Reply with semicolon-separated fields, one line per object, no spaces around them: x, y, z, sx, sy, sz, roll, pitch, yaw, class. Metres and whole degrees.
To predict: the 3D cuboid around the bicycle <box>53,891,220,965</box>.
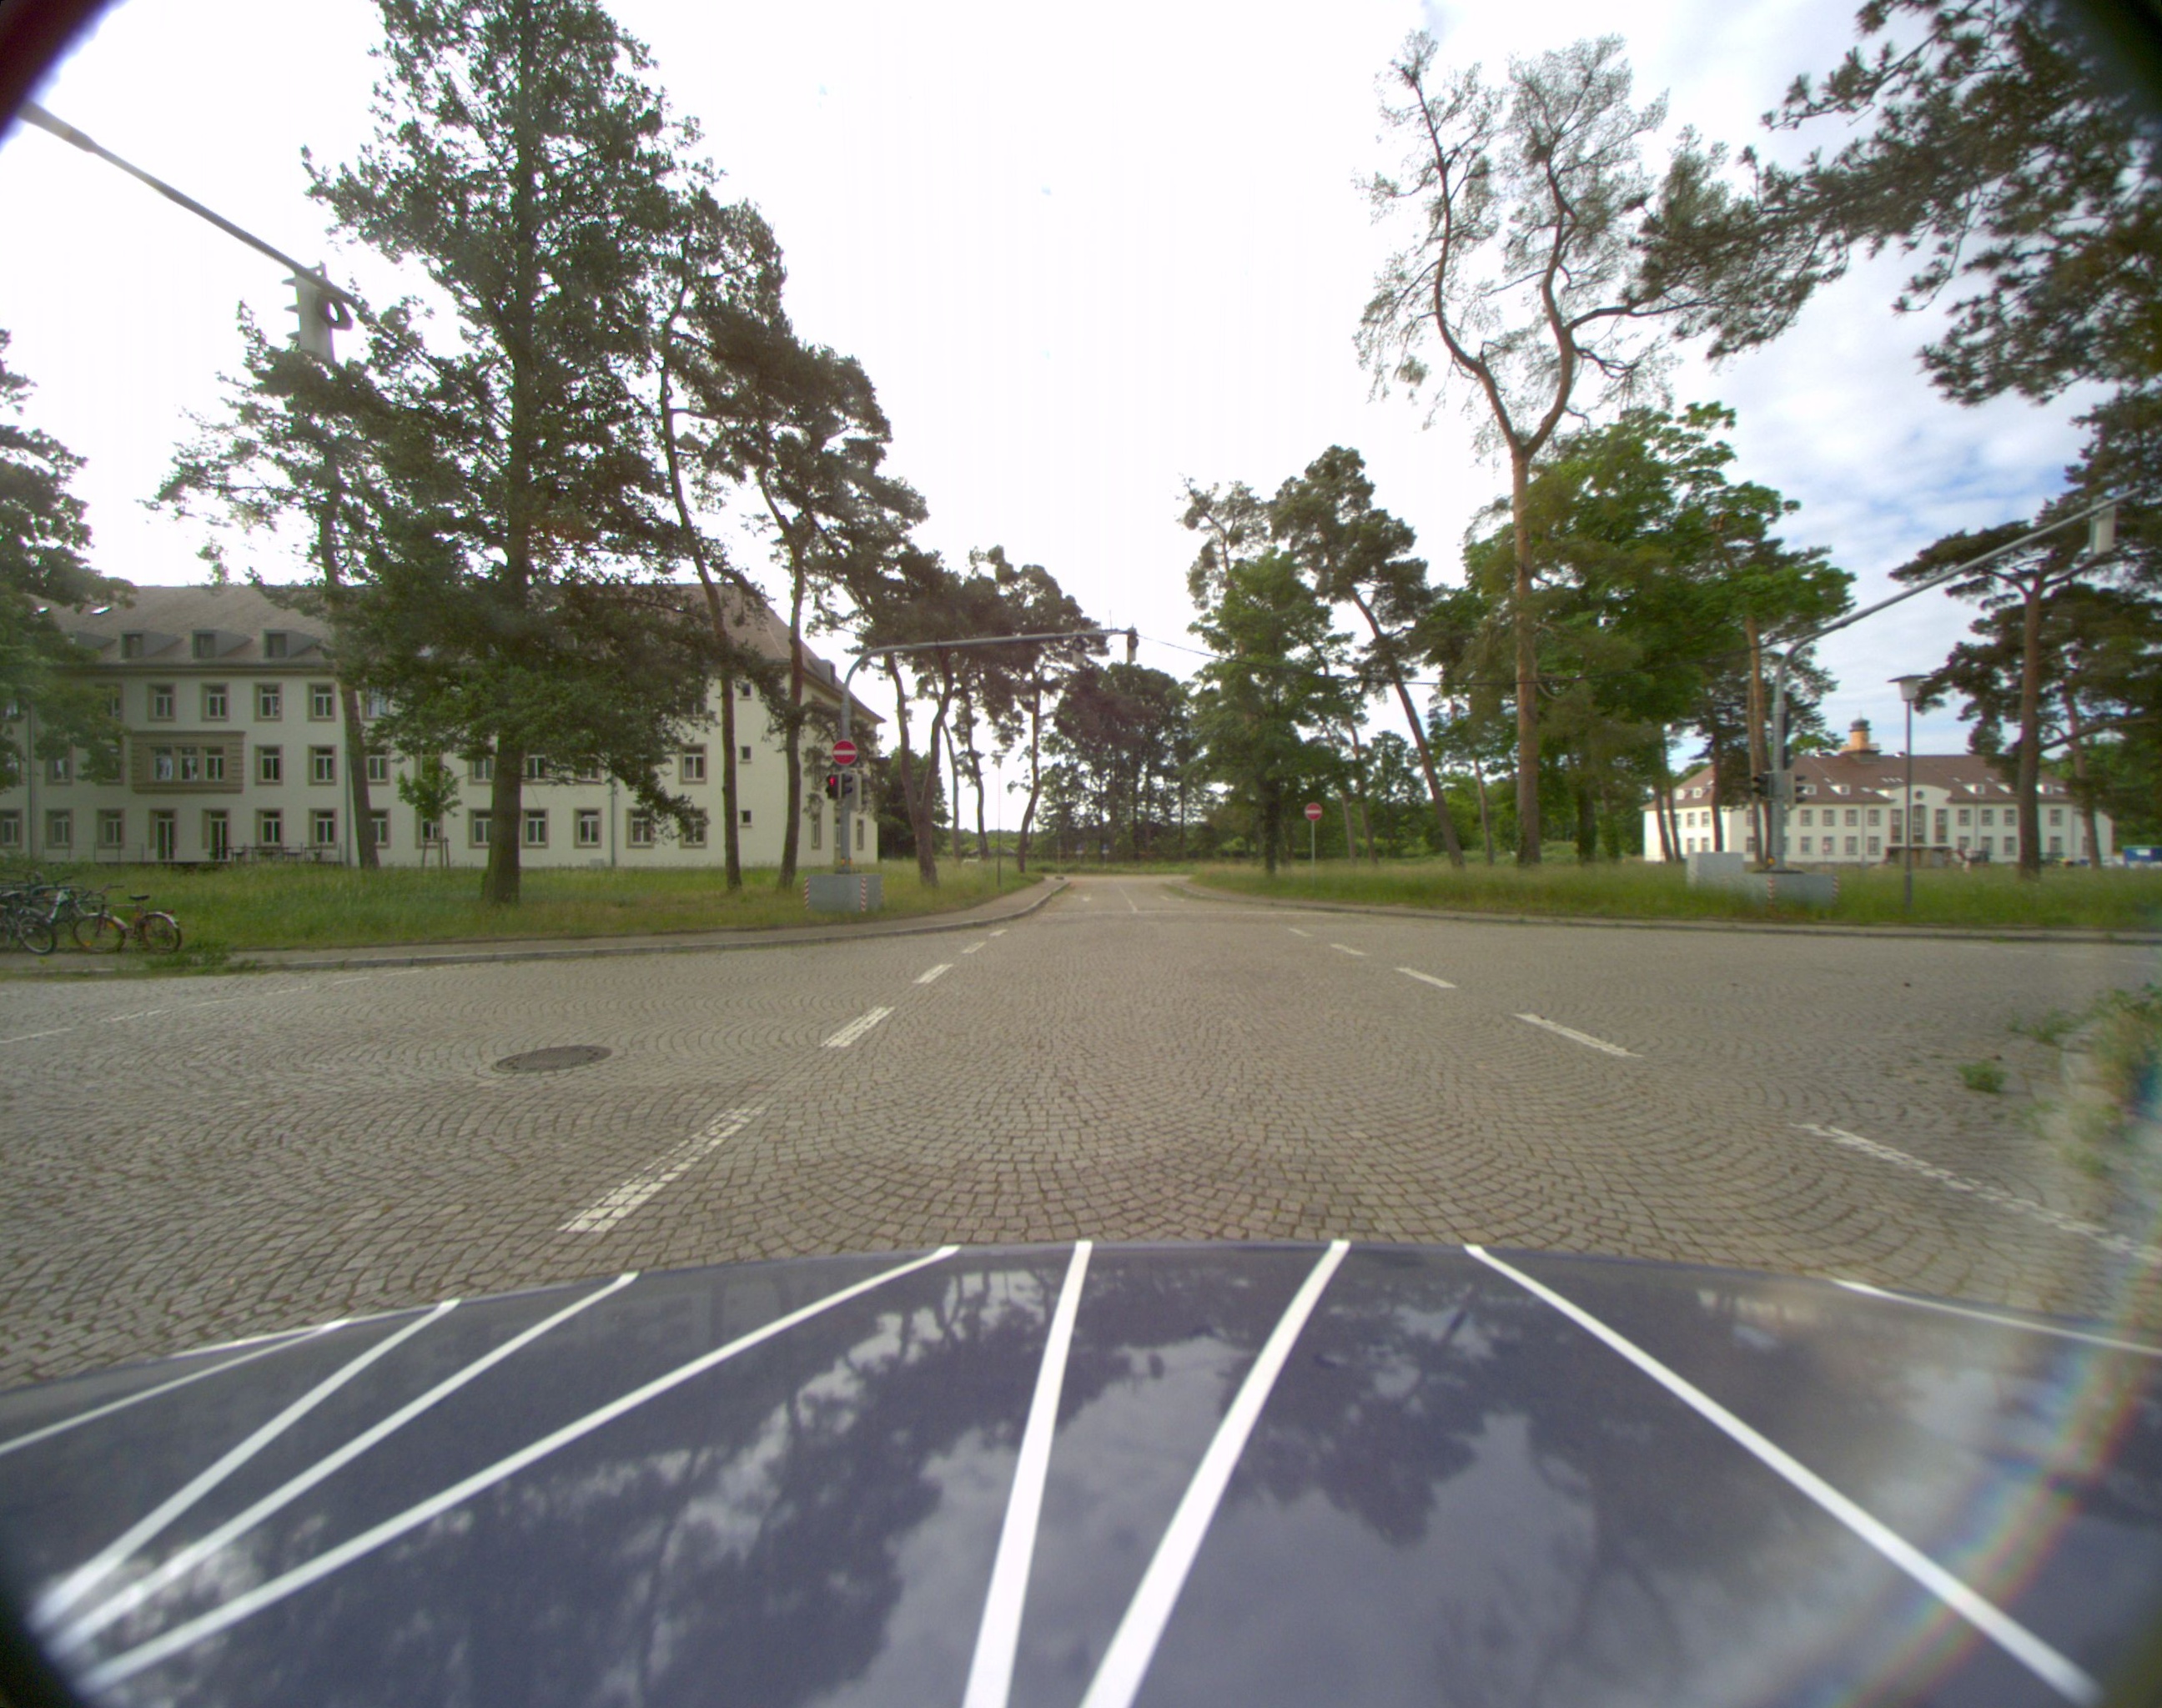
-14.766;1.145;11.903;1.987;1.107;0.624;0;0;4;bicycle

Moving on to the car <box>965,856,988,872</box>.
-9.531;0.904;69.450;1.487;1.428;3.196;0;-1;3;car

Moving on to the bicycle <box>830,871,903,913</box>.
-5.441;0.954;19.322;1.675;0.965;0.582;2;3;6;bicycle

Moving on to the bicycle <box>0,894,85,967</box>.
-16.721;1.175;11.865;1.675;1.076;0.624;0;0;6;bicycle

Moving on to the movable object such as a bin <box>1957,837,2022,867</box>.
116.216;-0.204;97.312;2.050;3.747;5.467;0;-1;6;movable object such as a bin

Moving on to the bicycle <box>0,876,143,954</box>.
-18.084;1.033;13.404;0.624;1.240;1.989;0;-1;0;bicycle

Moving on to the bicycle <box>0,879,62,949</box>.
-19.639;1.076;13.411;0.624;1.240;1.989;0;-1;0;bicycle

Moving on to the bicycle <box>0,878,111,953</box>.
-18.712;1.069;13.412;0.624;1.240;1.989;0;-1;0;bicycle

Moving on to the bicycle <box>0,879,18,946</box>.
-20.497;1.083;13.423;0.624;1.240;1.989;0;-1;0;bicycle
